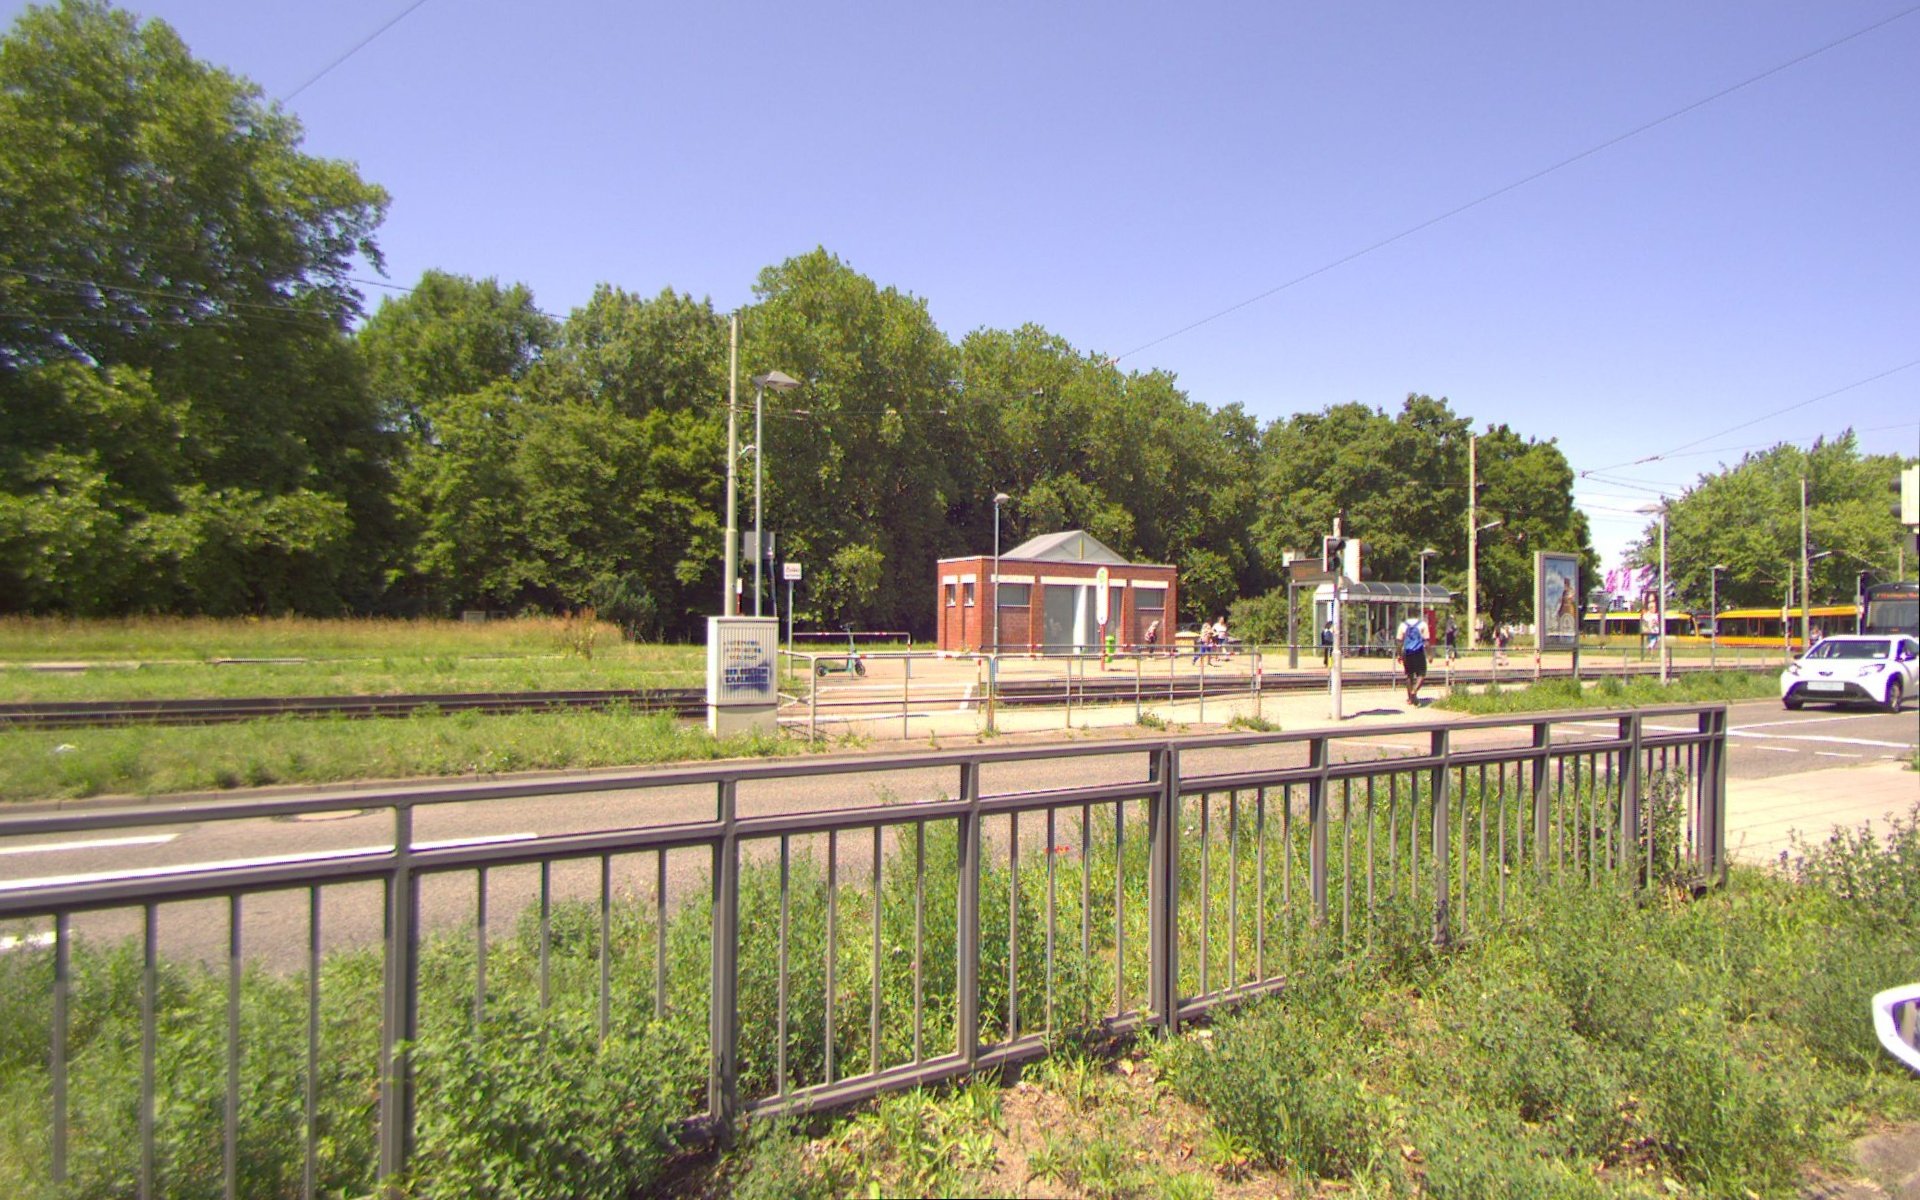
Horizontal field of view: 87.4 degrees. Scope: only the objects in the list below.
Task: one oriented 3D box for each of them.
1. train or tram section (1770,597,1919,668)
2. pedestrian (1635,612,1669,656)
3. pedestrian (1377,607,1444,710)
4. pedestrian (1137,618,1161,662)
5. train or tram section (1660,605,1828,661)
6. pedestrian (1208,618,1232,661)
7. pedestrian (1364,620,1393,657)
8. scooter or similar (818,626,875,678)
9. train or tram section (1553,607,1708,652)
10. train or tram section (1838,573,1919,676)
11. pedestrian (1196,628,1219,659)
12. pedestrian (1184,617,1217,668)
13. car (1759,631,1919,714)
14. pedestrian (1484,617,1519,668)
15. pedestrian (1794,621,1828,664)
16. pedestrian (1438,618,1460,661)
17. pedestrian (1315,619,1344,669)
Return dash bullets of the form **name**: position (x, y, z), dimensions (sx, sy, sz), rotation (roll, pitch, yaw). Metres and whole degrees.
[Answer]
- **train or tram section**: position (57.254, 2.023, 64.658), dimensions (3.164, 3.984, 18.490), rotation (0, -1, 24)
- **pedestrian**: position (32.359, 1.569, 46.964), dimensions (1.009, 2.040, 0.976), rotation (1, -1, -30)
- **pedestrian**: position (8.303, 1.054, 18.525), dimensions (0.832, 1.802, 0.714), rotation (-1, 5, -30)
- **pedestrian**: position (6.597, 1.384, 35.075), dimensions (0.563, 1.499, 0.636), rotation (1, -1, -30)
- **train or tram section**: position (63.000, 2.588, 81.726), dimensions (3.160, 3.984, 18.512), rotation (0, -1, 13)
- **pedestrian**: position (9.188, 1.393, 35.502), dimensions (0.573, 1.476, 0.639), rotation (1, -1, -15)
- **pedestrian**: position (17.239, 1.576, 41.366), dimensions (0.710, 1.531, 0.841), rotation (1, -1, -19)
- **scooter or similar**: position (-2.643, 1.207, 23.443), dimensions (1.217, 1.183, 0.508), rotation (1, -1, -30)
- **train or tram section**: position (65.024, 2.781, 98.444), dimensions (3.162, 3.984, 18.504), rotation (1, -1, 1)
- **train or tram section**: position (47.659, 1.226, 45.683), dimensions (29.691, 3.799, 2.943), rotation (1, -1, -31)
- **pedestrian**: position (9.009, 1.584, 36.620), dimensions (0.560, 1.139, 0.639), rotation (1, -1, -15)
- **pedestrian**: position (7.699, 1.345, 32.185), dimensions (0.799, 1.611, 0.668), rotation (1, -1, -30)
- **car**: position (18.301, 1.420, 20.558), dimensions (3.747, 1.514, 1.836), rotation (1, -1, -30)
- **pedestrian**: position (20.027, 1.551, 37.147), dimensions (0.832, 1.802, 0.714), rotation (-1, 5, -30)
- **pedestrian**: position (41.465, 2.065, 48.949), dimensions (1.009, 2.040, 0.976), rotation (1, -1, -30)
- **pedestrian**: position (20.848, 1.670, 42.821), dimensions (0.707, 1.824, 0.845), rotation (0, -1, 17)
- **pedestrian**: position (11.919, 1.400, 32.372), dimensions (0.688, 1.575, 0.629), rotation (1, -1, -42)
